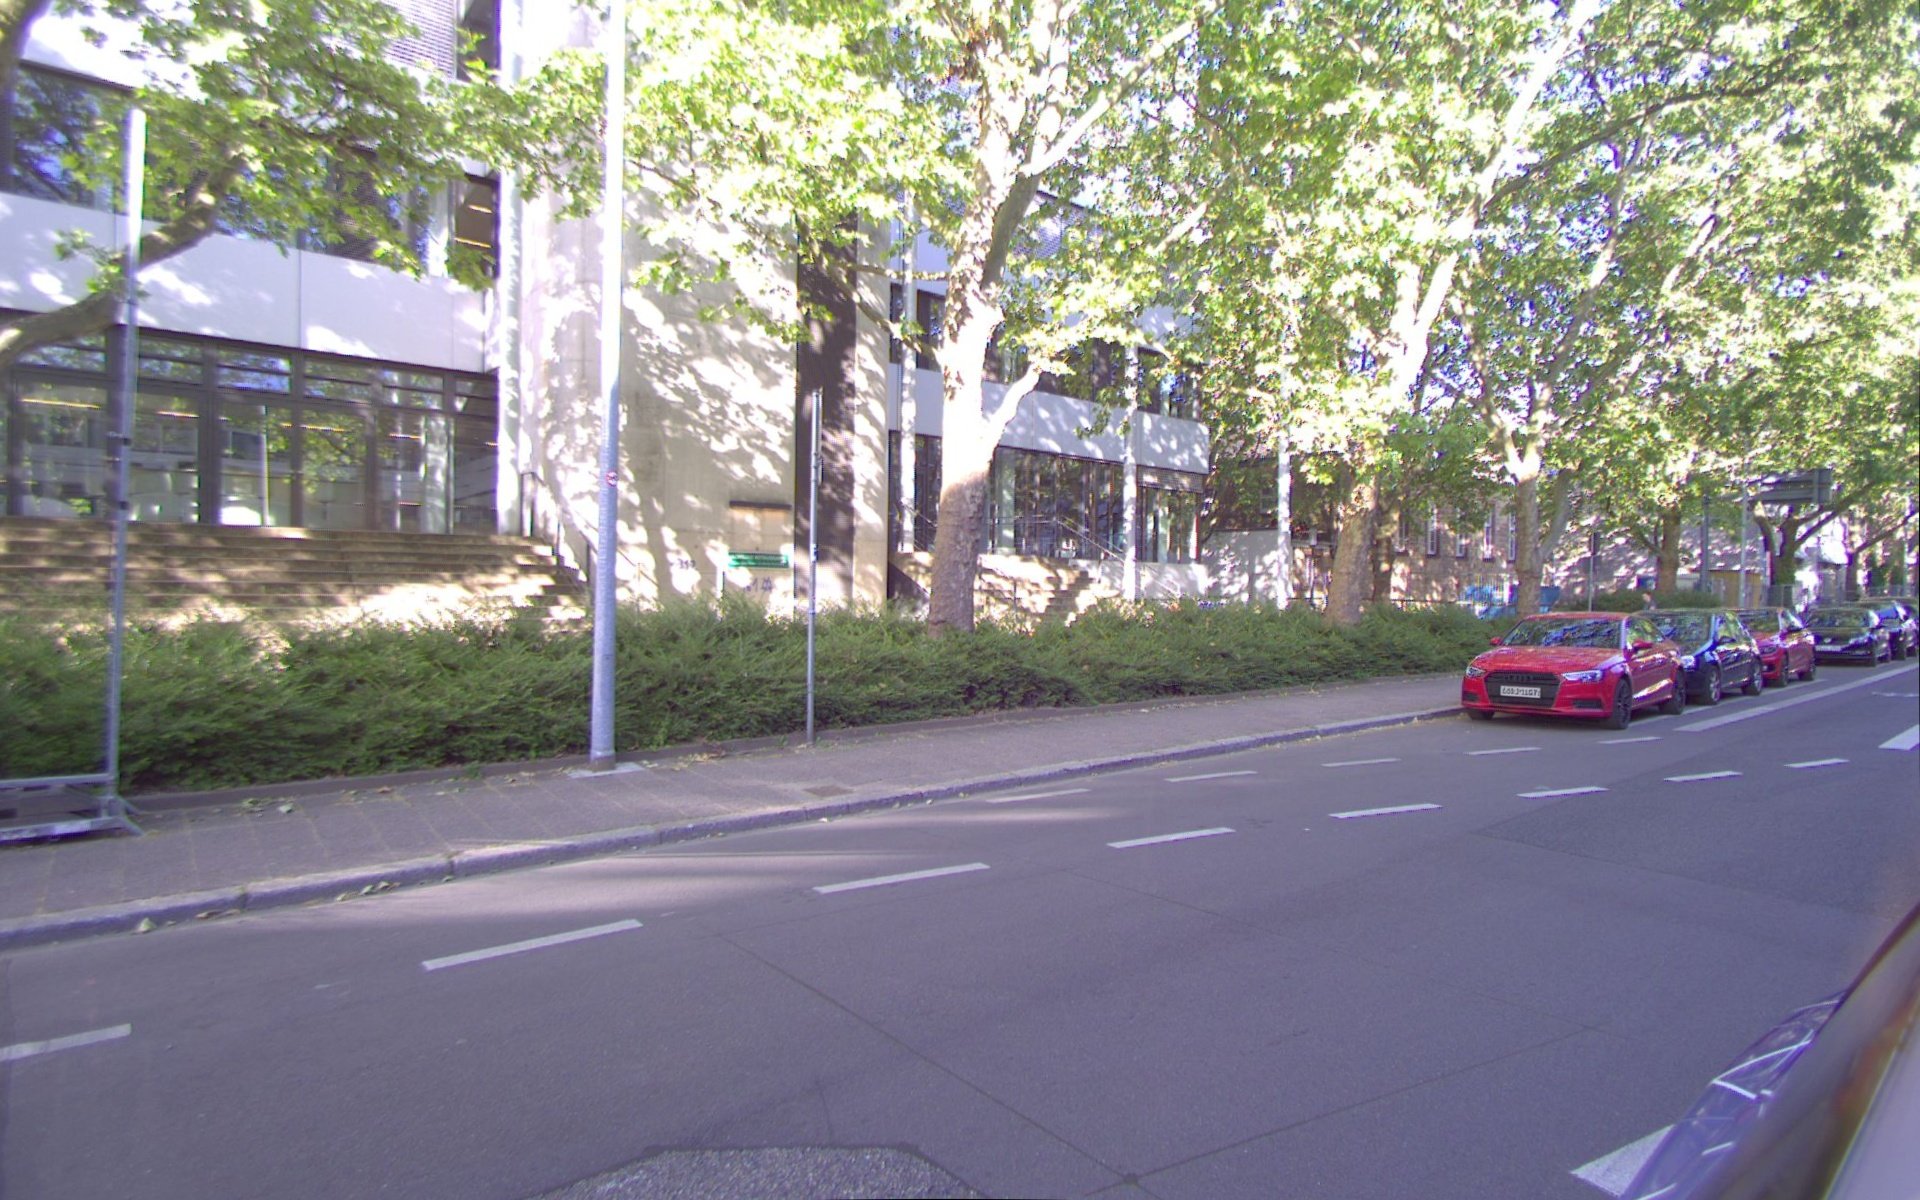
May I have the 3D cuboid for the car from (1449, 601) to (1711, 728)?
[{"bbox_3d":[8.407,0.736,13.578,4.173,1.422,1.834,0,0,-41],"label":"car"}]

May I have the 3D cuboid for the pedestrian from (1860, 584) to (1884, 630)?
[{"bbox_3d":[38.527,0.291,42.744,0.629,1.884,0.660,0,0,-41],"label":"pedestrian"}]

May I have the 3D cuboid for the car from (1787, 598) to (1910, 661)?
[{"bbox_3d":[22.874,0.701,26.001,4.095,1.486,1.834,0,0,-41],"label":"car"}]

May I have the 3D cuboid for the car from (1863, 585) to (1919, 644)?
[{"bbox_3d":[31.048,0.437,32.985,4.383,1.820,1.834,0,0,-40],"label":"car"}]

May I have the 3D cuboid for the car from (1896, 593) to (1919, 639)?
[{"bbox_3d":[35.912,0.579,37.111,4.183,1.634,1.834,0,0,-40],"label":"car"}]

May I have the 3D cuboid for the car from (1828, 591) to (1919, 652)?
[{"bbox_3d":[26.563,0.571,29.095,4.088,1.626,1.834,0,0,-40],"label":"car"}]

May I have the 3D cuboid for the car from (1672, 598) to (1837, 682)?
[{"bbox_3d":[15.842,0.708,20.109,4.095,1.486,1.834,0,0,-41],"label":"car"}]

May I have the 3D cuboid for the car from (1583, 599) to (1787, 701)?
[{"bbox_3d":[12.026,0.718,16.694,4.095,1.464,1.834,0,0,-41],"label":"car"}]
